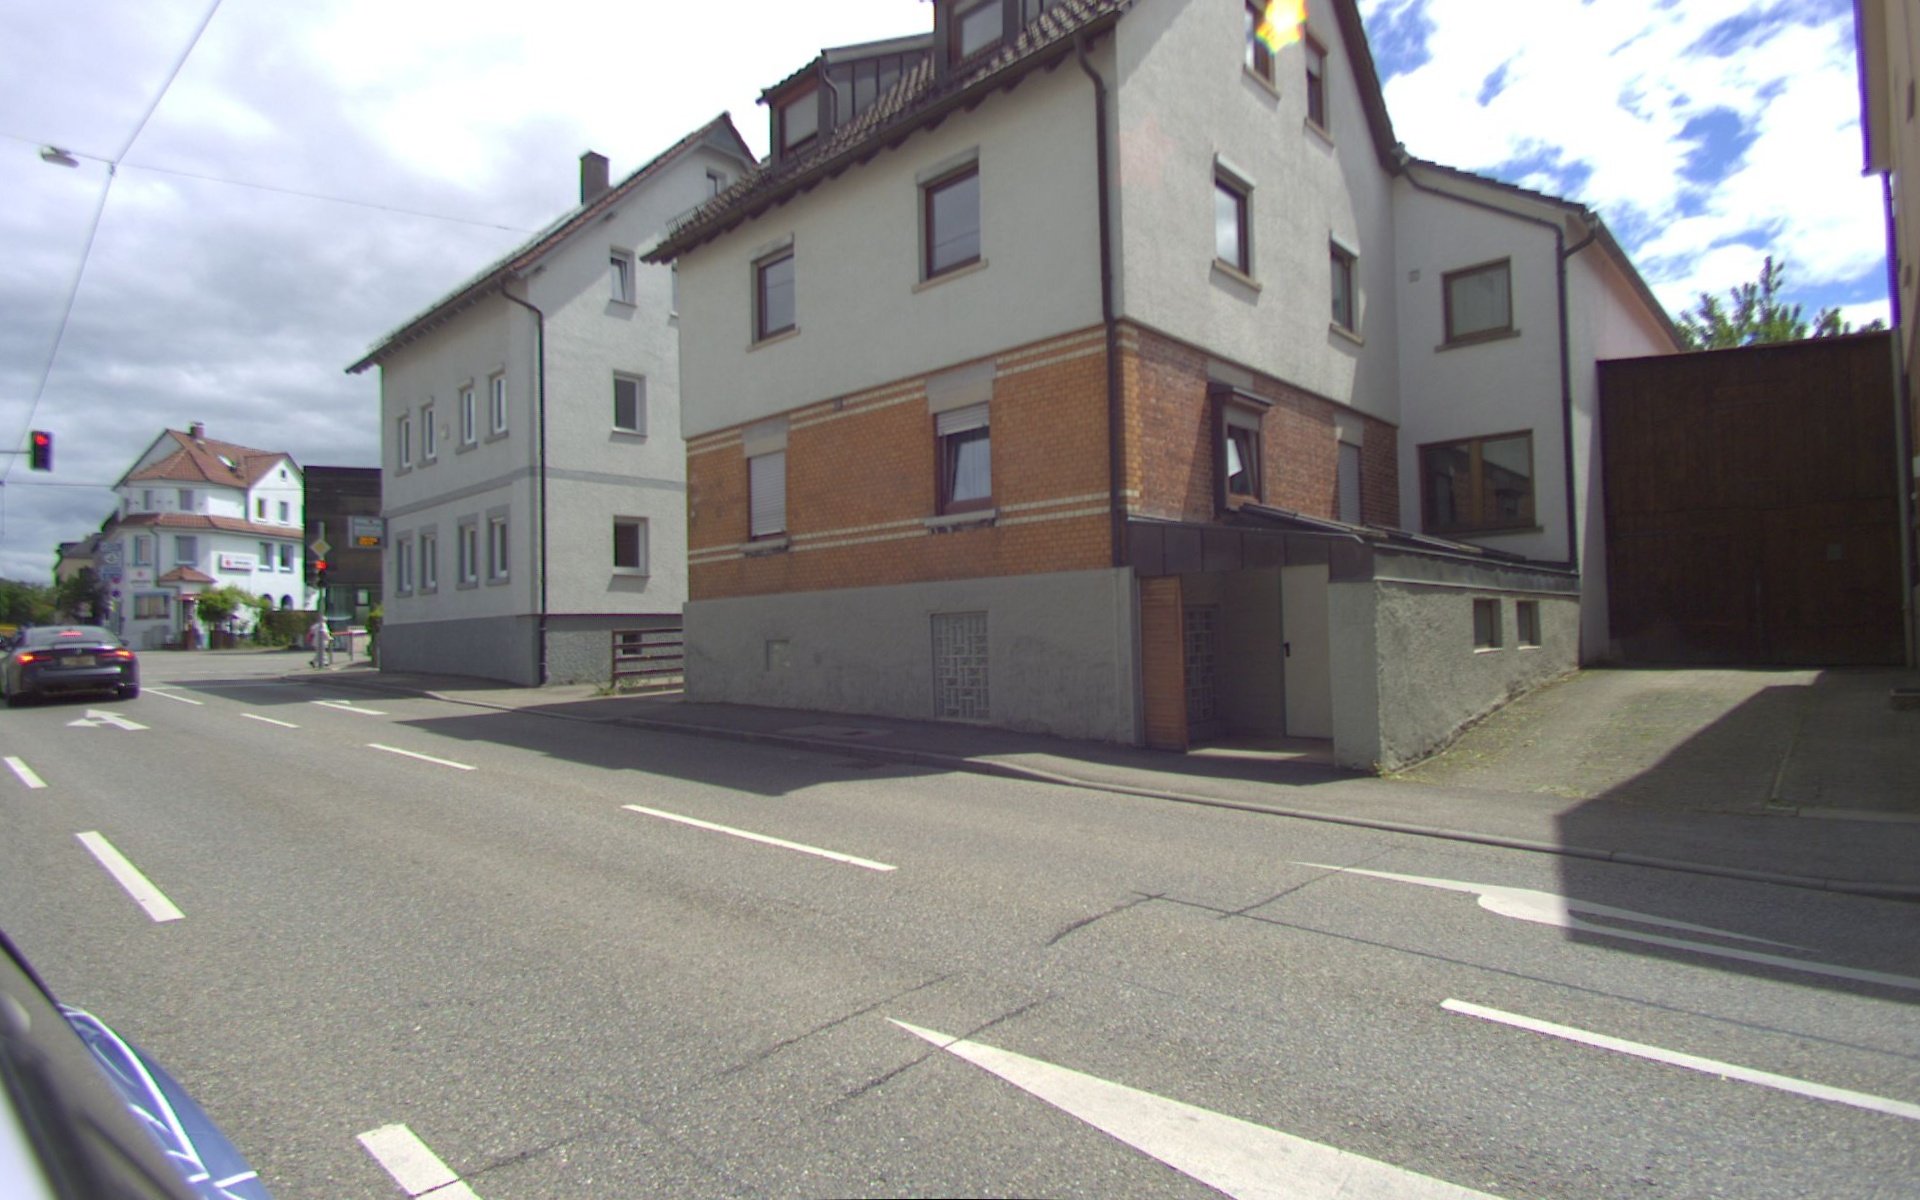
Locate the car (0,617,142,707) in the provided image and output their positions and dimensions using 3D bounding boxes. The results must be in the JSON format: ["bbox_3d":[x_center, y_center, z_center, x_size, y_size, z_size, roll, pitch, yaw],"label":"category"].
[{"bbox_3d":[-17.128,1.138,19.343,4.000,1.497,1.771,-3,-1,43],"label":"car"}]

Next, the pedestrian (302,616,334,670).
[{"bbox_3d":[-19.542,1.292,30.799,0.679,1.620,0.579,-1,0,31],"label":"pedestrian"}]

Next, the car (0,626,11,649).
[{"bbox_3d":[-86.313,3.379,90.411,4.001,2.029,1.971,-2,-2,44],"label":"car"}]
